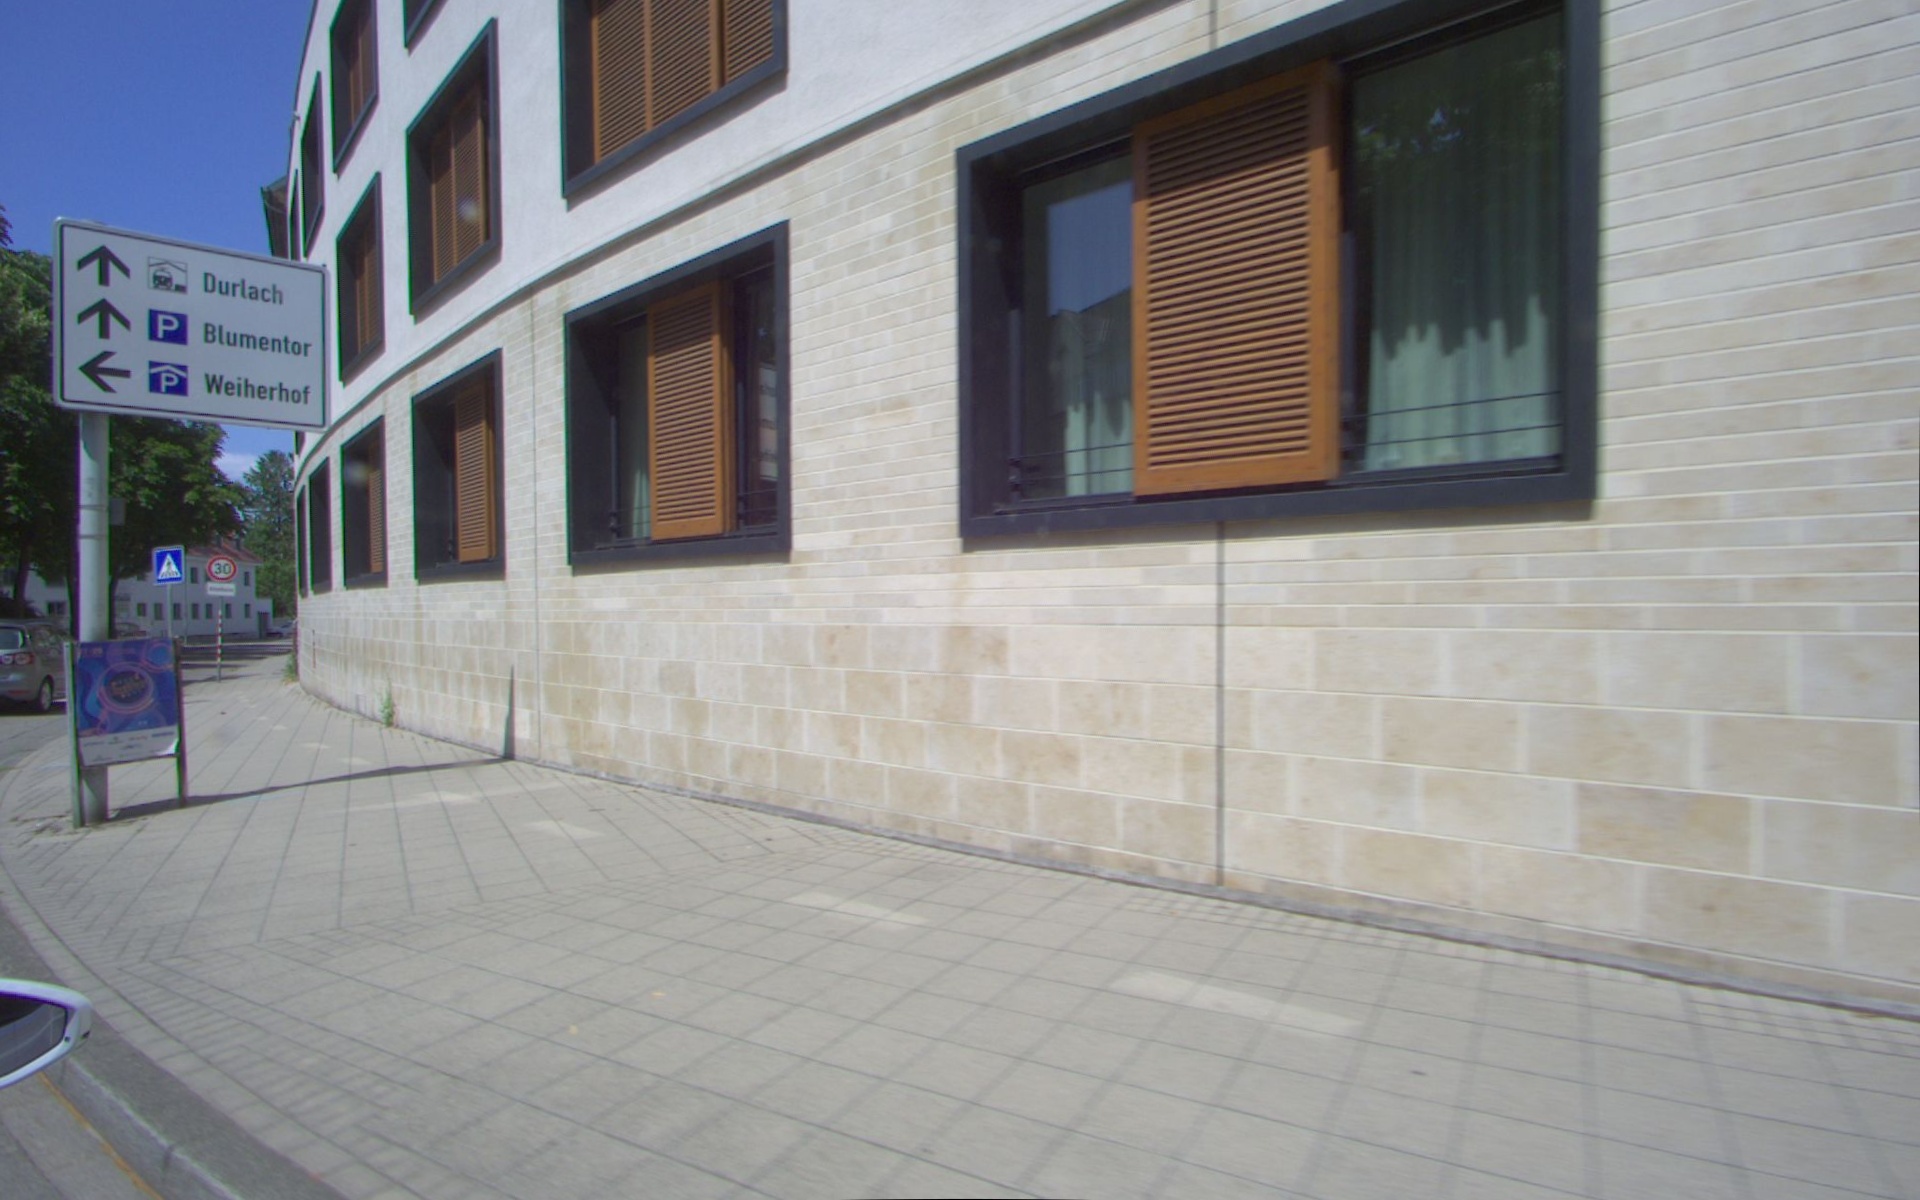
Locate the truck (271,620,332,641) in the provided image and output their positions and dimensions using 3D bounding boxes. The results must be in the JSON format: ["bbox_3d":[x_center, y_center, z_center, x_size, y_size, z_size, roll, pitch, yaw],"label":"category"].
[{"bbox_3d":[-63.683,2.933,96.883,4.753,2.039,2.129,1,-1,-38],"label":"truck"}]

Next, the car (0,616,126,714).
[{"bbox_3d":[-16.643,1.072,17.658,1.880,1.553,4.229,2,-3,-25],"label":"car"}]
